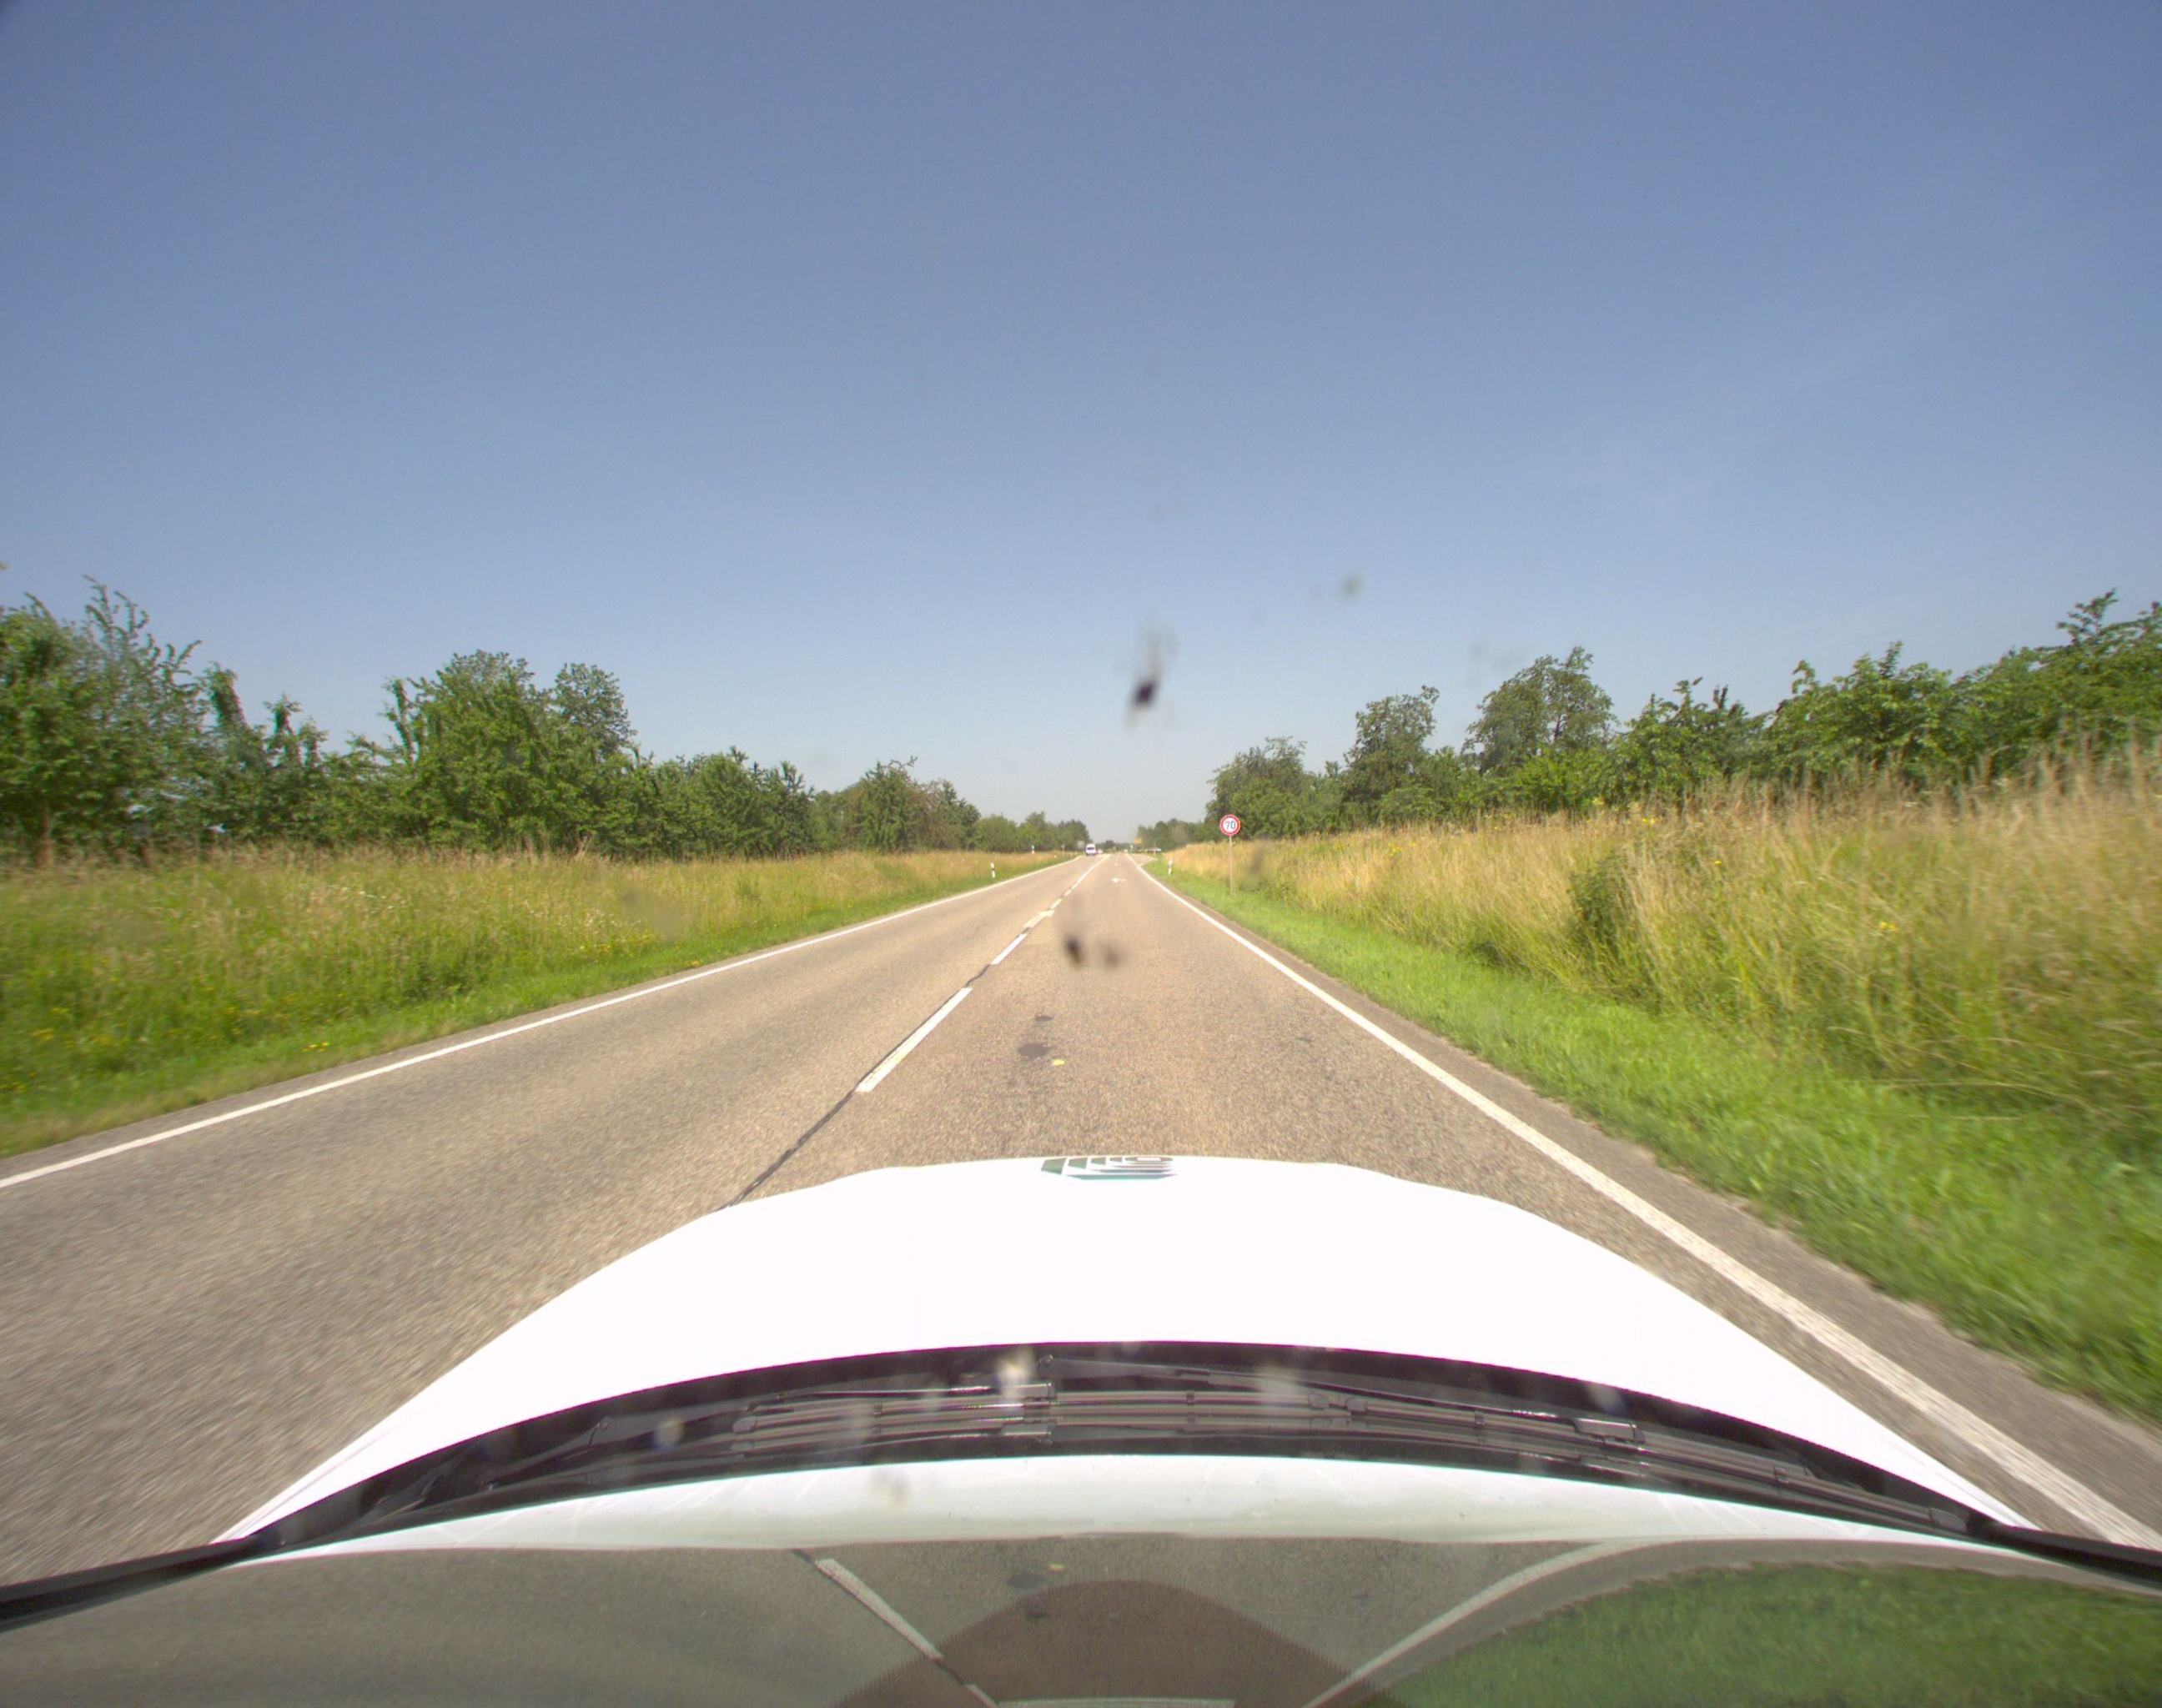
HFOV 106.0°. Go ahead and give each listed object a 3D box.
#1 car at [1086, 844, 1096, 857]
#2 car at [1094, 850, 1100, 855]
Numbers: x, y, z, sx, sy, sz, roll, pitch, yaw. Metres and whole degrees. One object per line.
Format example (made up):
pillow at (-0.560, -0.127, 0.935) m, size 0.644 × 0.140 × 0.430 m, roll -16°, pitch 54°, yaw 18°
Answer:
car at (2.276, -0.795, 182.292) m, size 2.153 × 2.669 × 6.145 m, roll -1°, pitch 0°, yaw 1°
car at (4.992, -0.378, 251.551) m, size 1.619 × 1.457 × 3.622 m, roll -1°, pitch 0°, yaw 1°
